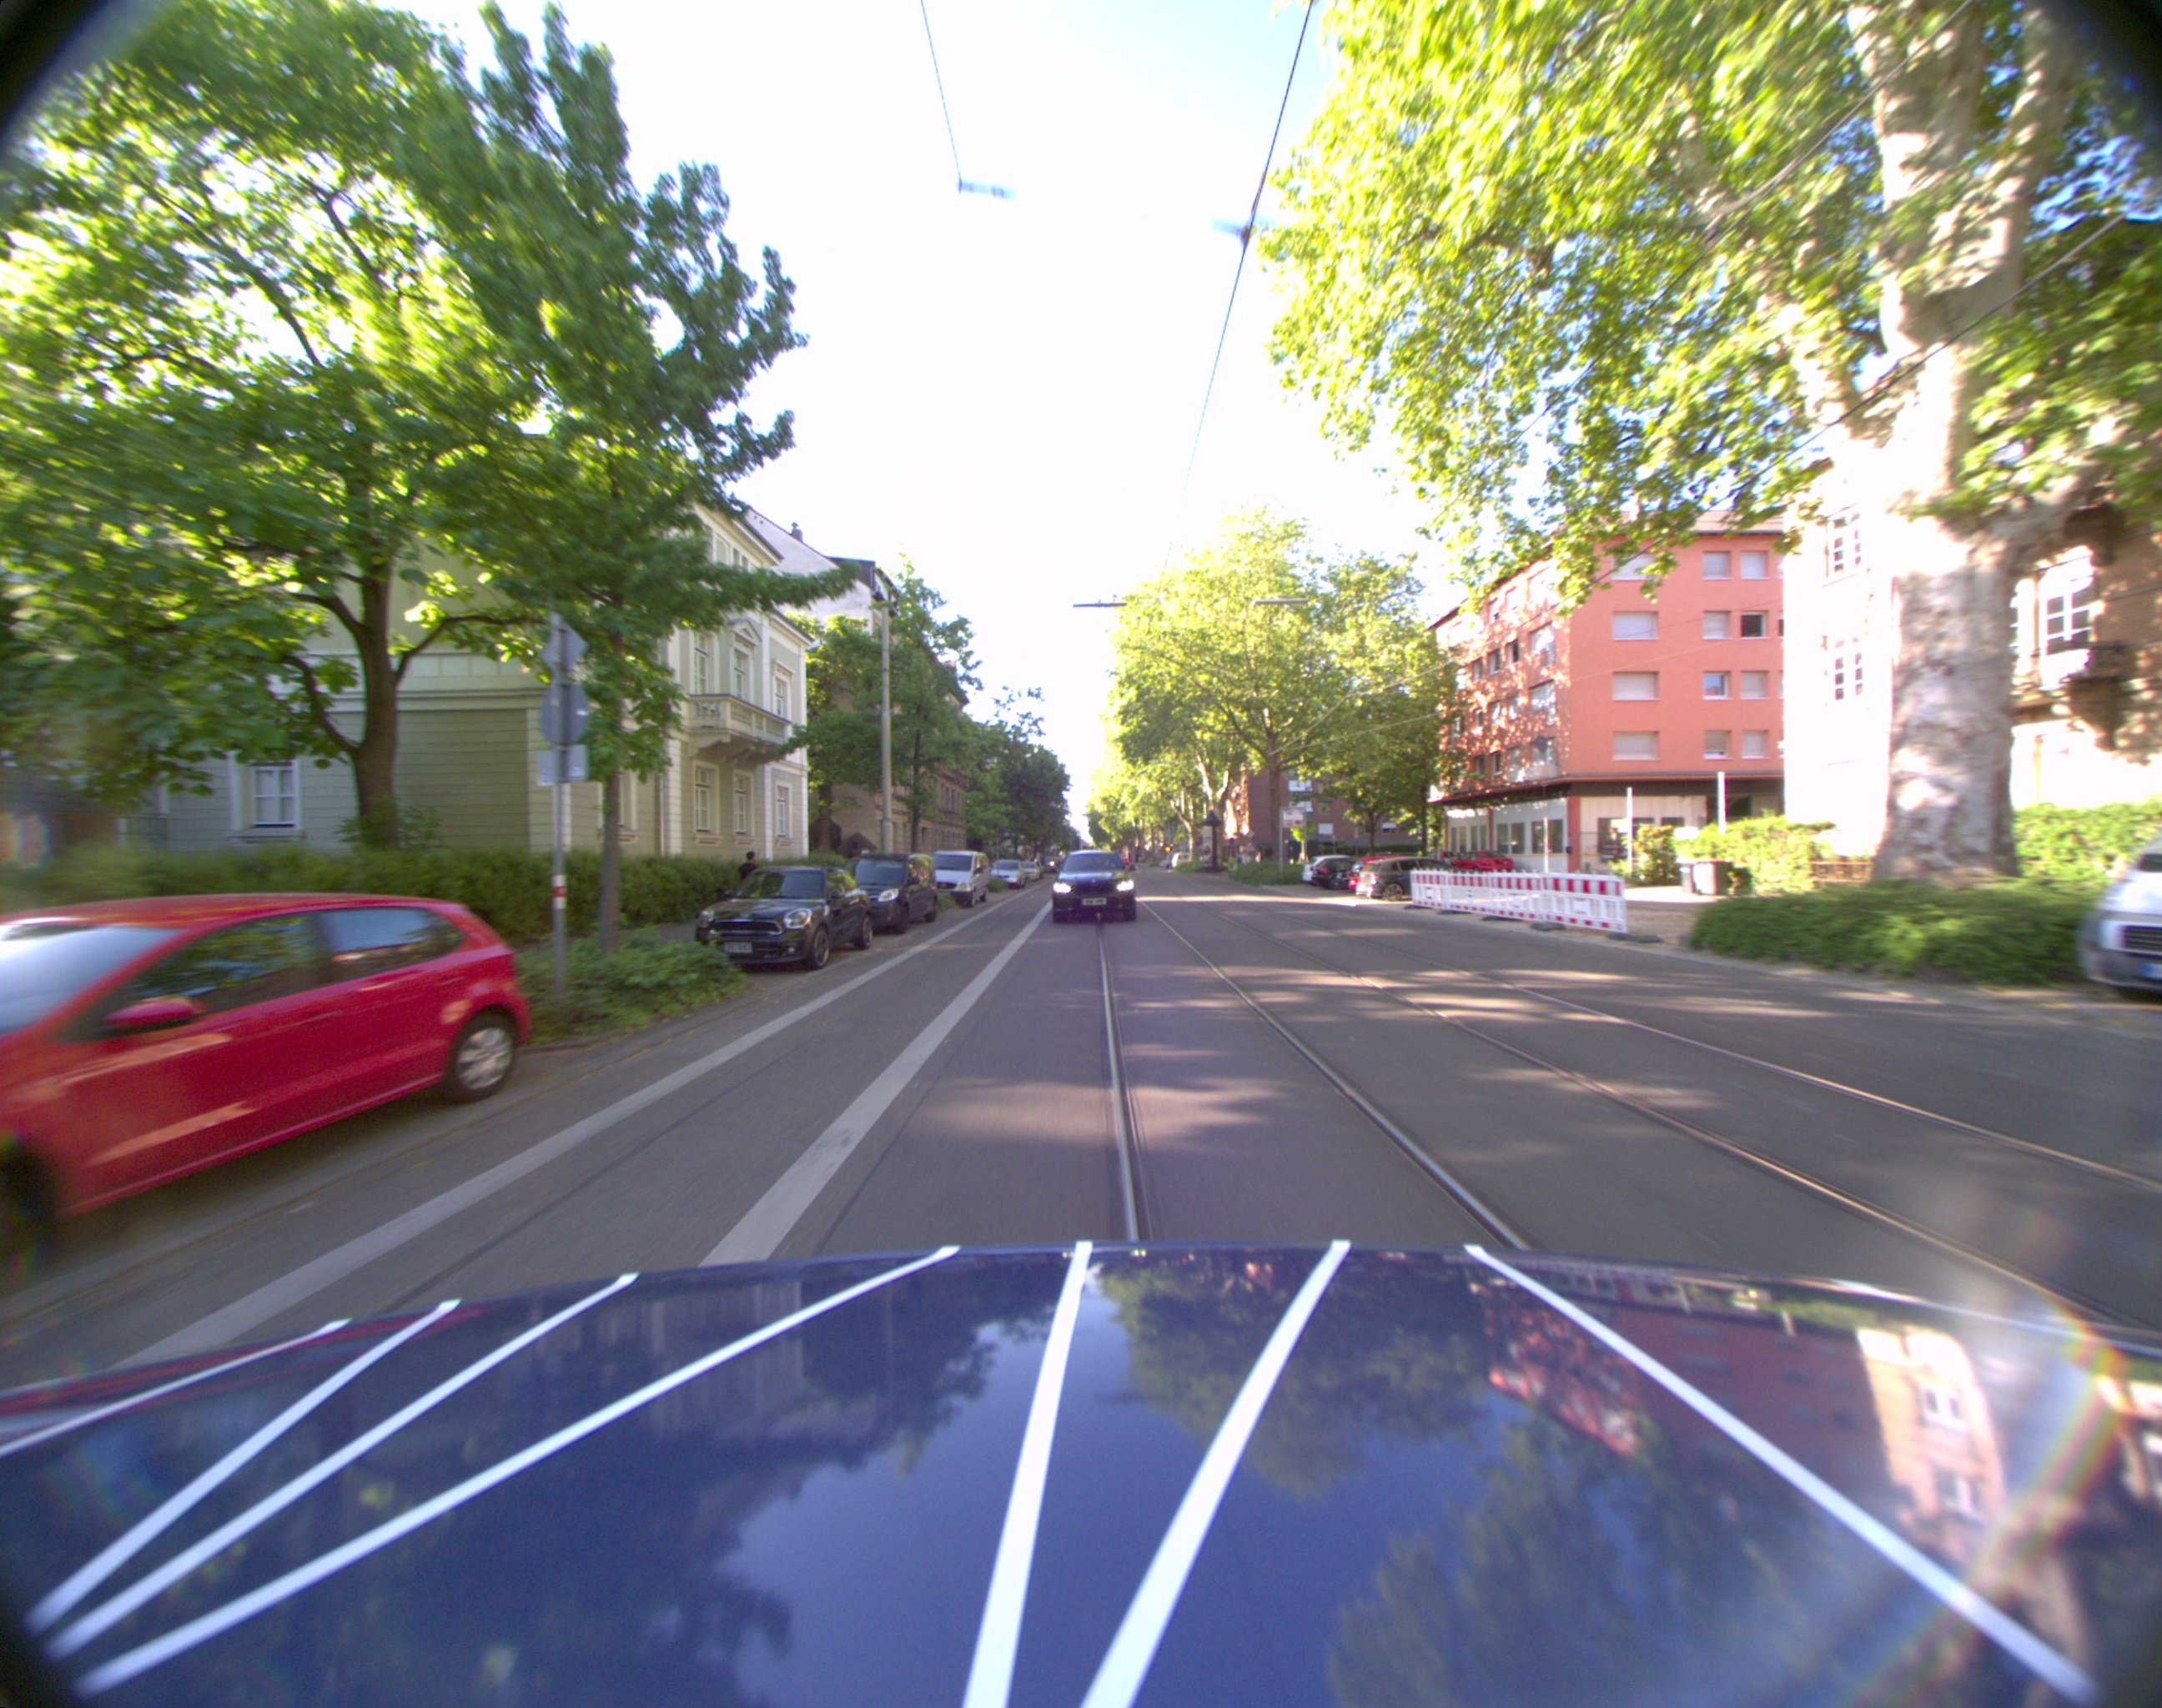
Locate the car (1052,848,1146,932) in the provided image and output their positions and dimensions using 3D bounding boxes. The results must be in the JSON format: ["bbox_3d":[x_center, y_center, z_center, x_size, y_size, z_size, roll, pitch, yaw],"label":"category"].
[{"bbox_3d":[0.387,0.755,18.854,1.937,1.718,5.072,-2,0,0],"label":"car"}]

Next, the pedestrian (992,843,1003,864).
[{"bbox_3d":[-7.363,-0.033,66.998,0.727,1.783,0.969,1,1,12],"label":"pedestrian"}]

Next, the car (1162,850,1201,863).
[{"bbox_3d":[12.770,0.344,96.790,4.776,1.452,1.954,-2,1,0],"label":"car"}]

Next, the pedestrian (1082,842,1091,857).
[{"bbox_3d":[0.669,-0.548,92.101,0.870,1.874,0.996,-1,1,-17],"label":"pedestrian"}]

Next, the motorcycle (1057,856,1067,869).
[{"bbox_3d":[-2.160,0.941,87.510,1.054,1.446,2.208,-2,1,1],"label":"motorcycle"}]

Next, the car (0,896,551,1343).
[{"bbox_3d":[-4.834,1.071,3.645,1.707,1.415,3.978,3,1,1],"label":"car"}]

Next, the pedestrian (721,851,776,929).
[{"bbox_3d":[-7.464,0.803,17.091,0.832,1.701,0.835,1,-1,-2],"label":"pedestrian"}]

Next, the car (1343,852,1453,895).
[{"bbox_3d":[11.978,0.721,28.857,3.427,1.456,1.759,-2,1,3],"label":"car"}]

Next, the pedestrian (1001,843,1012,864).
[{"bbox_3d":[-6.578,-0.057,67.090,0.727,1.783,0.854,1,1,12],"label":"pedestrian"}]

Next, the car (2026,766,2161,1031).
[{"bbox_3d":[11.663,0.302,6.367,5.046,2.246,2.085,-2,1,-2],"label":"car"}]

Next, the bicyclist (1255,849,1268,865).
[{"bbox_3d":[17.132,0.295,72.299,0.802,1.498,1.116,-2,1,-9],"label":"bicyclist"}]

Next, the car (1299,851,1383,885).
[{"bbox_3d":[12.419,0.652,36.456,3.427,1.456,1.697,-2,1,3],"label":"car"}]

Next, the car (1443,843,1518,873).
[{"bbox_3d":[21.294,0.197,40.671,1.952,1.478,4.000,-2,0,2],"label":"car"}]

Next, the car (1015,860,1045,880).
[{"bbox_3d":[-3.800,1.153,57.091,1.888,1.360,4.107,2,1,1],"label":"car"}]

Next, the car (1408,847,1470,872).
[{"bbox_3d":[21.410,0.283,45.573,1.952,1.399,3.892,-2,0,2],"label":"car"}]

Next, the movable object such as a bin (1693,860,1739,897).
[{"bbox_3d":[18.562,0.705,22.213,0.723,1.016,0.736,-2,1,3],"label":"movable object such as a bin"}]

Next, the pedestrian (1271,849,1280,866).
[{"bbox_3d":[19.897,0.363,77.876,0.711,1.663,0.779,-2,1,1],"label":"pedestrian"}]

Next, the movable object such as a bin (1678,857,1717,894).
[{"bbox_3d":[18.986,0.647,23.405,0.726,1.103,0.543,-2,1,3],"label":"movable object such as a bin"}]

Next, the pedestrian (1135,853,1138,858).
[{"bbox_3d":[12.745,0.301,174.241,0.708,1.197,0.473,-2,1,2],"label":"pedestrian"}]

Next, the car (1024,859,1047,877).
[{"bbox_3d":[-3.769,1.131,63.617,1.677,1.404,3.842,2,1,0],"label":"car"}]

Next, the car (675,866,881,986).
[{"bbox_3d":[-4.666,1.020,12.380,1.716,1.505,4.036,1,1,0],"label":"car"}]

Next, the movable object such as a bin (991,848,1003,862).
[{"bbox_3d":[-7.297,0.093,65.904,0.640,1.195,1.306,1,1,12],"label":"movable object such as a bin"}]

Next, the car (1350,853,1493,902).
[{"bbox_3d":[11.481,0.772,25.822,3.997,1.456,1.854,-2,1,1],"label":"car"}]

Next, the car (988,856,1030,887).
[{"bbox_3d":[-4.007,0.950,42.938,1.888,1.559,4.242,2,1,1],"label":"car"}]

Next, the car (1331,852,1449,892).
[{"bbox_3d":[12.514,0.722,30.979,4.092,1.456,1.821,-2,1,3],"label":"car"}]

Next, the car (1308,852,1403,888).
[{"bbox_3d":[12.147,0.714,33.805,3.610,1.456,1.687,-2,1,3],"label":"car"}]

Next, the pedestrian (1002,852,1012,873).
[{"bbox_3d":[-6.096,0.685,62.963,0.728,1.699,0.856,0,1,2],"label":"pedestrian"}]

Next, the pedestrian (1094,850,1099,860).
[{"bbox_3d":[2.598,0.189,129.275,0.836,1.703,0.640,-2,1,2],"label":"pedestrian"}]

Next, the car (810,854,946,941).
[{"bbox_3d":[-4.631,0.901,18.138,1.890,1.756,4.678,0,0,1],"label":"car"}]

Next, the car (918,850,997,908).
[{"bbox_3d":[-4.313,0.788,27.285,1.888,1.840,4.967,2,1,1],"label":"car"}]

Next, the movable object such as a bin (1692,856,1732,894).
[{"bbox_3d":[18.975,0.611,22.841,0.725,1.103,0.560,-2,1,3],"label":"movable object such as a bin"}]

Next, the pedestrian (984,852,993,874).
[{"bbox_3d":[-7.498,0.716,61.370,0.600,1.783,0.728,-2,1,-1],"label":"pedestrian"}]

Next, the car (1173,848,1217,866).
[{"bbox_3d":[12.837,0.321,85.829,4.582,1.823,1.938,-2,1,0],"label":"car"}]

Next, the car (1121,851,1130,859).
[{"bbox_3d":[8.233,0.180,140.611,1.665,1.435,3.473,-2,0,2],"label":"car"}]

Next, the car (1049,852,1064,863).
[{"bbox_3d":[-3.532,0.516,108.576,1.766,1.612,4.442,1,0,3],"label":"car"}]
